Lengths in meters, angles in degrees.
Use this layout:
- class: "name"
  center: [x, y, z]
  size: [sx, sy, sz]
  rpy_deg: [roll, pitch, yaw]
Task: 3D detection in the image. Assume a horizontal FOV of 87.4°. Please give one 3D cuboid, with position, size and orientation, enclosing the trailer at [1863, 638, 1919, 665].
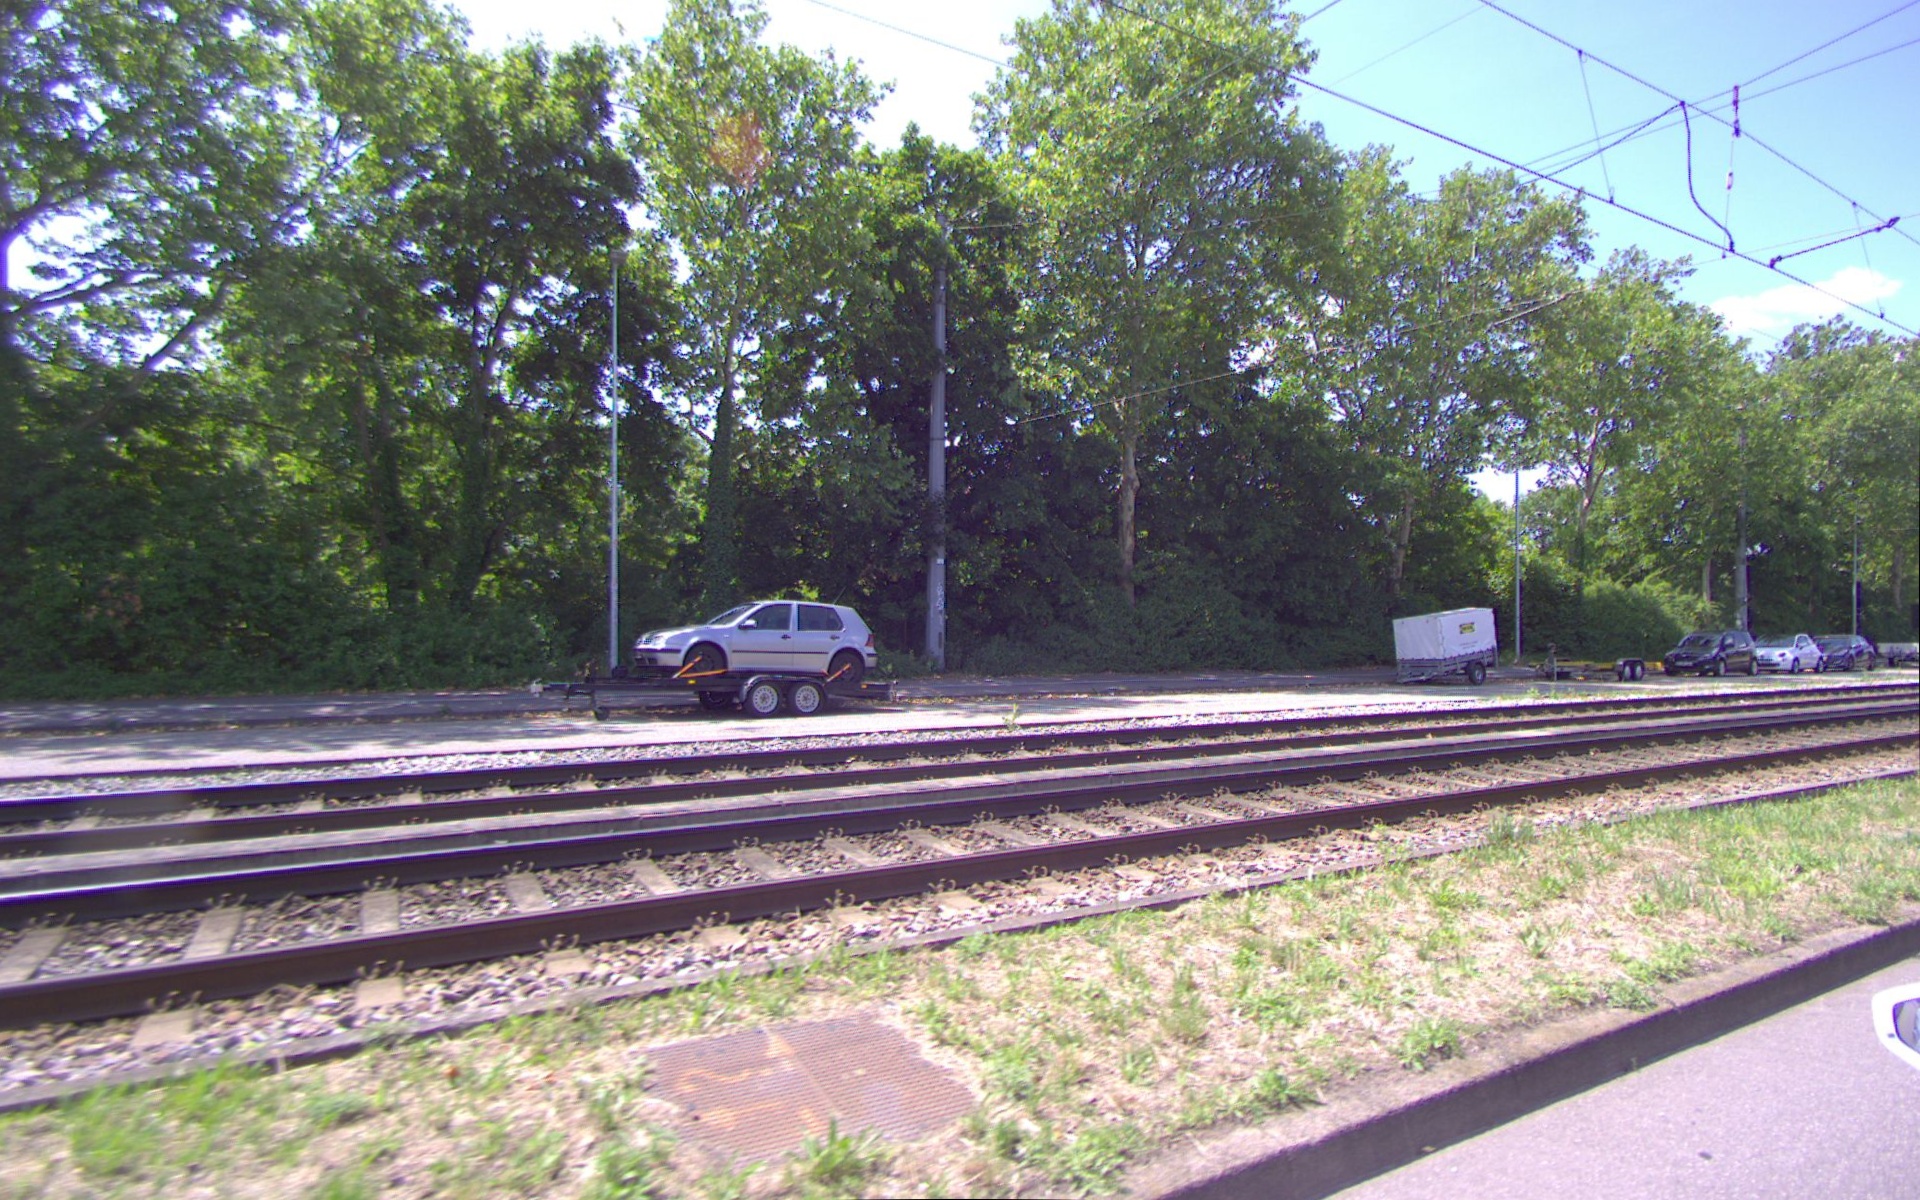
- class: "trailer"
  center: [43.404, 2.345, 45.889]
  size: [5.046, 1.058, 1.882]
  rpy_deg: [1, 1, -32]

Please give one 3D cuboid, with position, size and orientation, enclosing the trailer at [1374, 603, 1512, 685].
- class: "trailer"
  center: [13.182, 1.146, 27.362]
  size: [3.874, 2.041, 1.600]
  rpy_deg: [1, 1, -33]

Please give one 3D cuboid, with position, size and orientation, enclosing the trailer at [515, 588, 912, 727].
- class: "trailer"
  center: [-3.932, 0.846, 16.573]
  size: [5.901, 1.914, 2.446]
  rpy_deg: [1, 0, -35]

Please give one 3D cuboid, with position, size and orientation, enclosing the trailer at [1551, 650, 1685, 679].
- class: "trailer"
  center: [20.704, 2.025, 31.586]
  size: [3.954, 0.752, 1.984]
  rpy_deg: [2, -1, -31]

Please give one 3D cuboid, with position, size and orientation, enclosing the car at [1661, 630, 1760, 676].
- class: "car"
  center: [26.073, 1.821, 34.866]
  size: [3.878, 1.470, 1.426]
  rpy_deg: [1, 0, -32]

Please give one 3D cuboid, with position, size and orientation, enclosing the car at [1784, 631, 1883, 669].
- class: "car"
  center: [35.500, 2.003, 40.804]
  size: [4.370, 1.419, 1.860]
  rpy_deg: [1, 0, -32]

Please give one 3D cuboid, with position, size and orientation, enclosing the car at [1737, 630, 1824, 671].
- class: "car"
  center: [31.023, 1.882, 37.947]
  size: [3.699, 1.470, 1.426]
  rpy_deg: [1, 0, -32]
